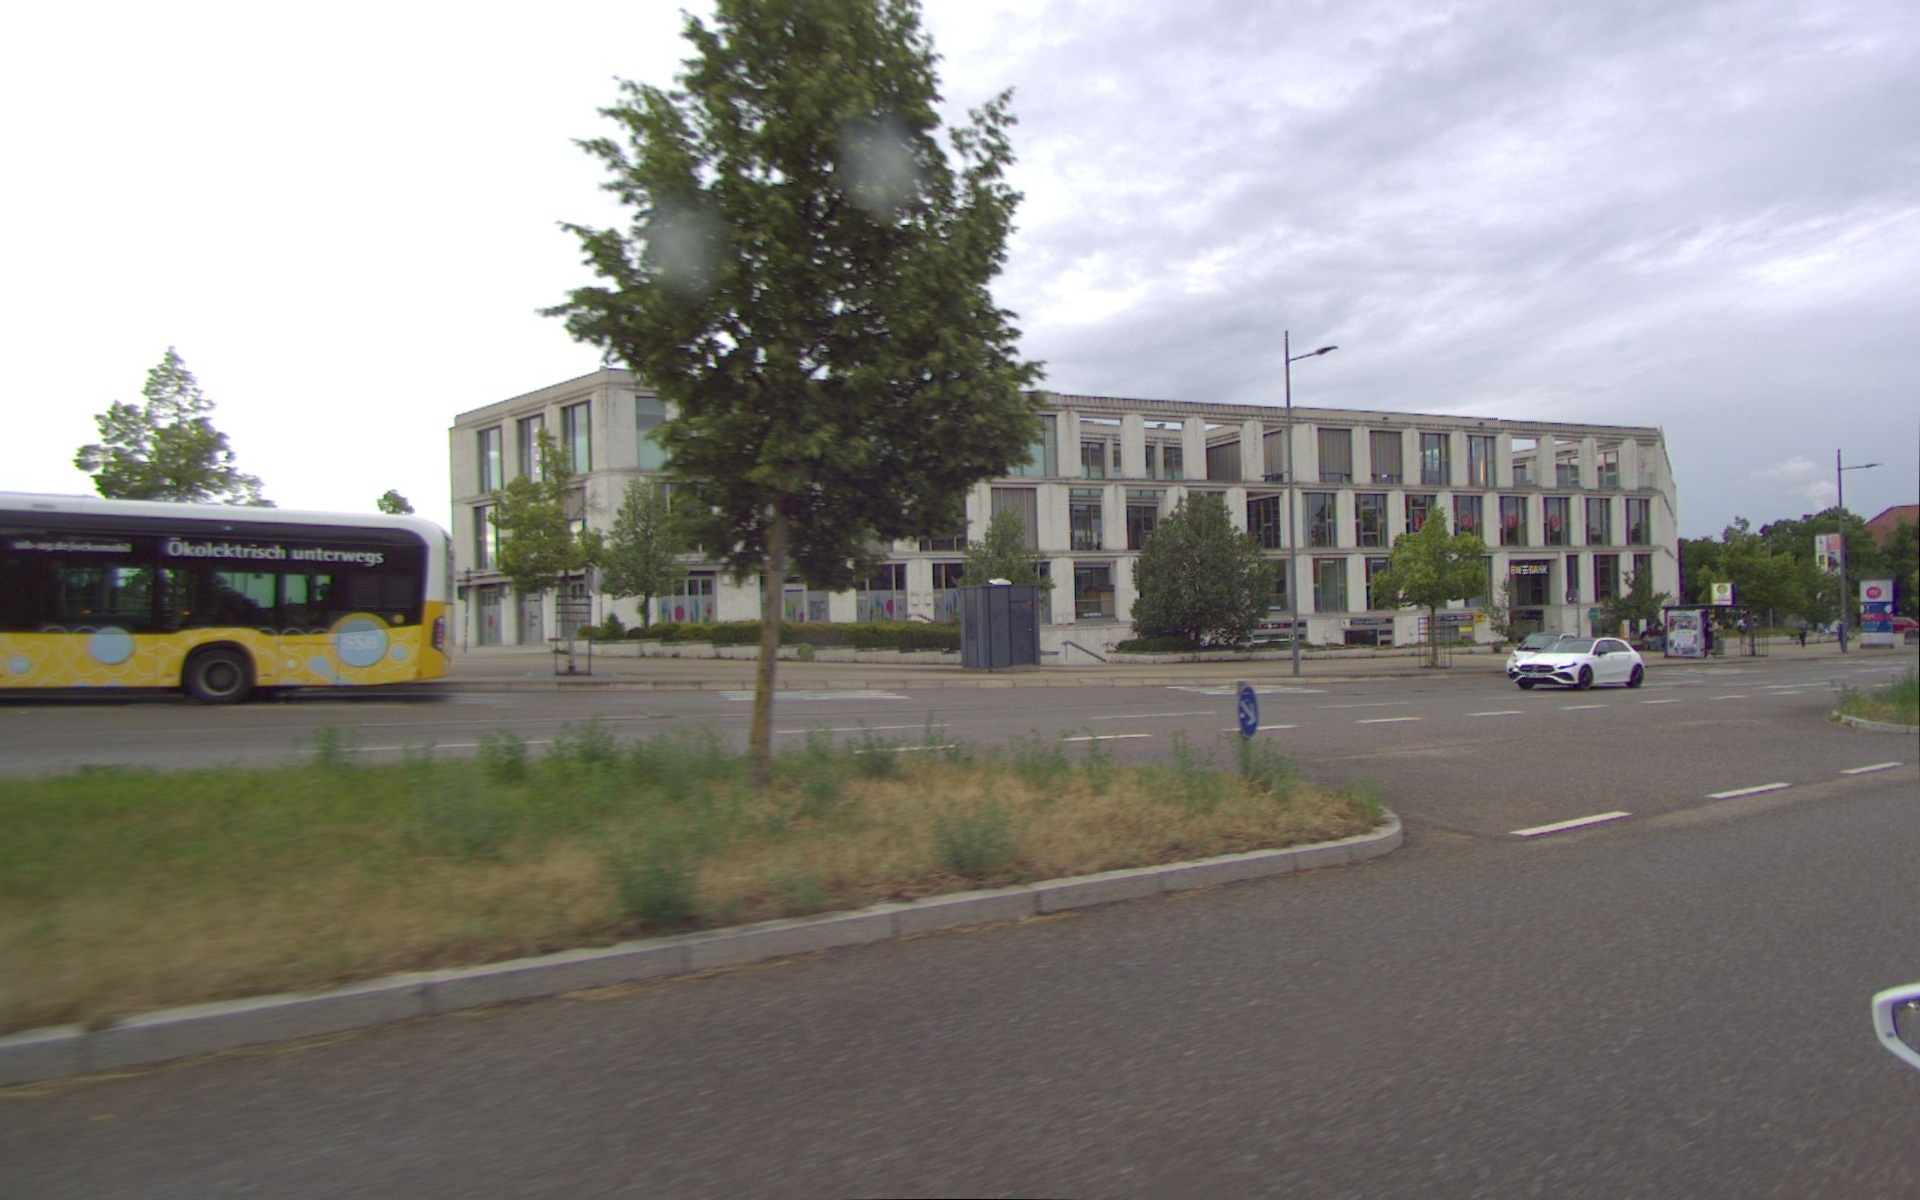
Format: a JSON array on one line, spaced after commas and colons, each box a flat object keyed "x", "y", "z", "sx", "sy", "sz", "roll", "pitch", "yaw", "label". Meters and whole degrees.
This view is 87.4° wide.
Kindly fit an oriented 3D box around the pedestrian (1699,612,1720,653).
[{"x": 34.212, "y": 1.486, "z": 45.864, "sx": 0.747, "sy": 1.866, "sz": 0.505, "roll": 1, "pitch": -1, "yaw": -31, "label": "pedestrian"}]

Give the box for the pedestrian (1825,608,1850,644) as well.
[{"x": 45.665, "y": 1.339, "z": 52.264, "sx": 0.737, "sy": 1.866, "sz": 0.750, "roll": 1, "pitch": -1, "yaw": -28, "label": "pedestrian"}]

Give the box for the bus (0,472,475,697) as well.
[{"x": -13.315, "y": -0.158, "z": 17.942, "sx": 8.114, "sy": 3.518, "sz": 2.815, "roll": 2, "pitch": 0, "yaw": -23, "label": "bus"}]

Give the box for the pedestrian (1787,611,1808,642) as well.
[{"x": 47.570, "y": 1.494, "z": 57.053, "sx": 0.846, "sy": 1.785, "sz": 0.596, "roll": 1, "pitch": -1, "yaw": -28, "label": "pedestrian"}]

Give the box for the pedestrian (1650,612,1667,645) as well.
[{"x": 37.027, "y": 1.509, "z": 53.256, "sx": 0.559, "sy": 1.748, "sz": 0.522, "roll": 1, "pitch": -1, "yaw": -28, "label": "pedestrian"}]

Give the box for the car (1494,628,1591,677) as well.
[{"x": 19.883, "y": 1.770, "z": 34.294, "sx": 2.938, "sy": 1.528, "sz": 1.606, "roll": 1, "pitch": 0, "yaw": -30, "label": "car"}]

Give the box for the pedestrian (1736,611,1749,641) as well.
[{"x": 44.892, "y": 1.503, "z": 57.648, "sx": 0.492, "sy": 1.712, "sz": 0.910, "roll": -1, "pitch": -1, "yaw": 43, "label": "pedestrian"}]

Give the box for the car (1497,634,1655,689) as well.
[{"x": 17.603, "y": 1.711, "z": 28.673, "sx": 4.460, "sy": 1.437, "sz": 1.984, "roll": 1, "pitch": -1, "yaw": -30, "label": "car"}]
